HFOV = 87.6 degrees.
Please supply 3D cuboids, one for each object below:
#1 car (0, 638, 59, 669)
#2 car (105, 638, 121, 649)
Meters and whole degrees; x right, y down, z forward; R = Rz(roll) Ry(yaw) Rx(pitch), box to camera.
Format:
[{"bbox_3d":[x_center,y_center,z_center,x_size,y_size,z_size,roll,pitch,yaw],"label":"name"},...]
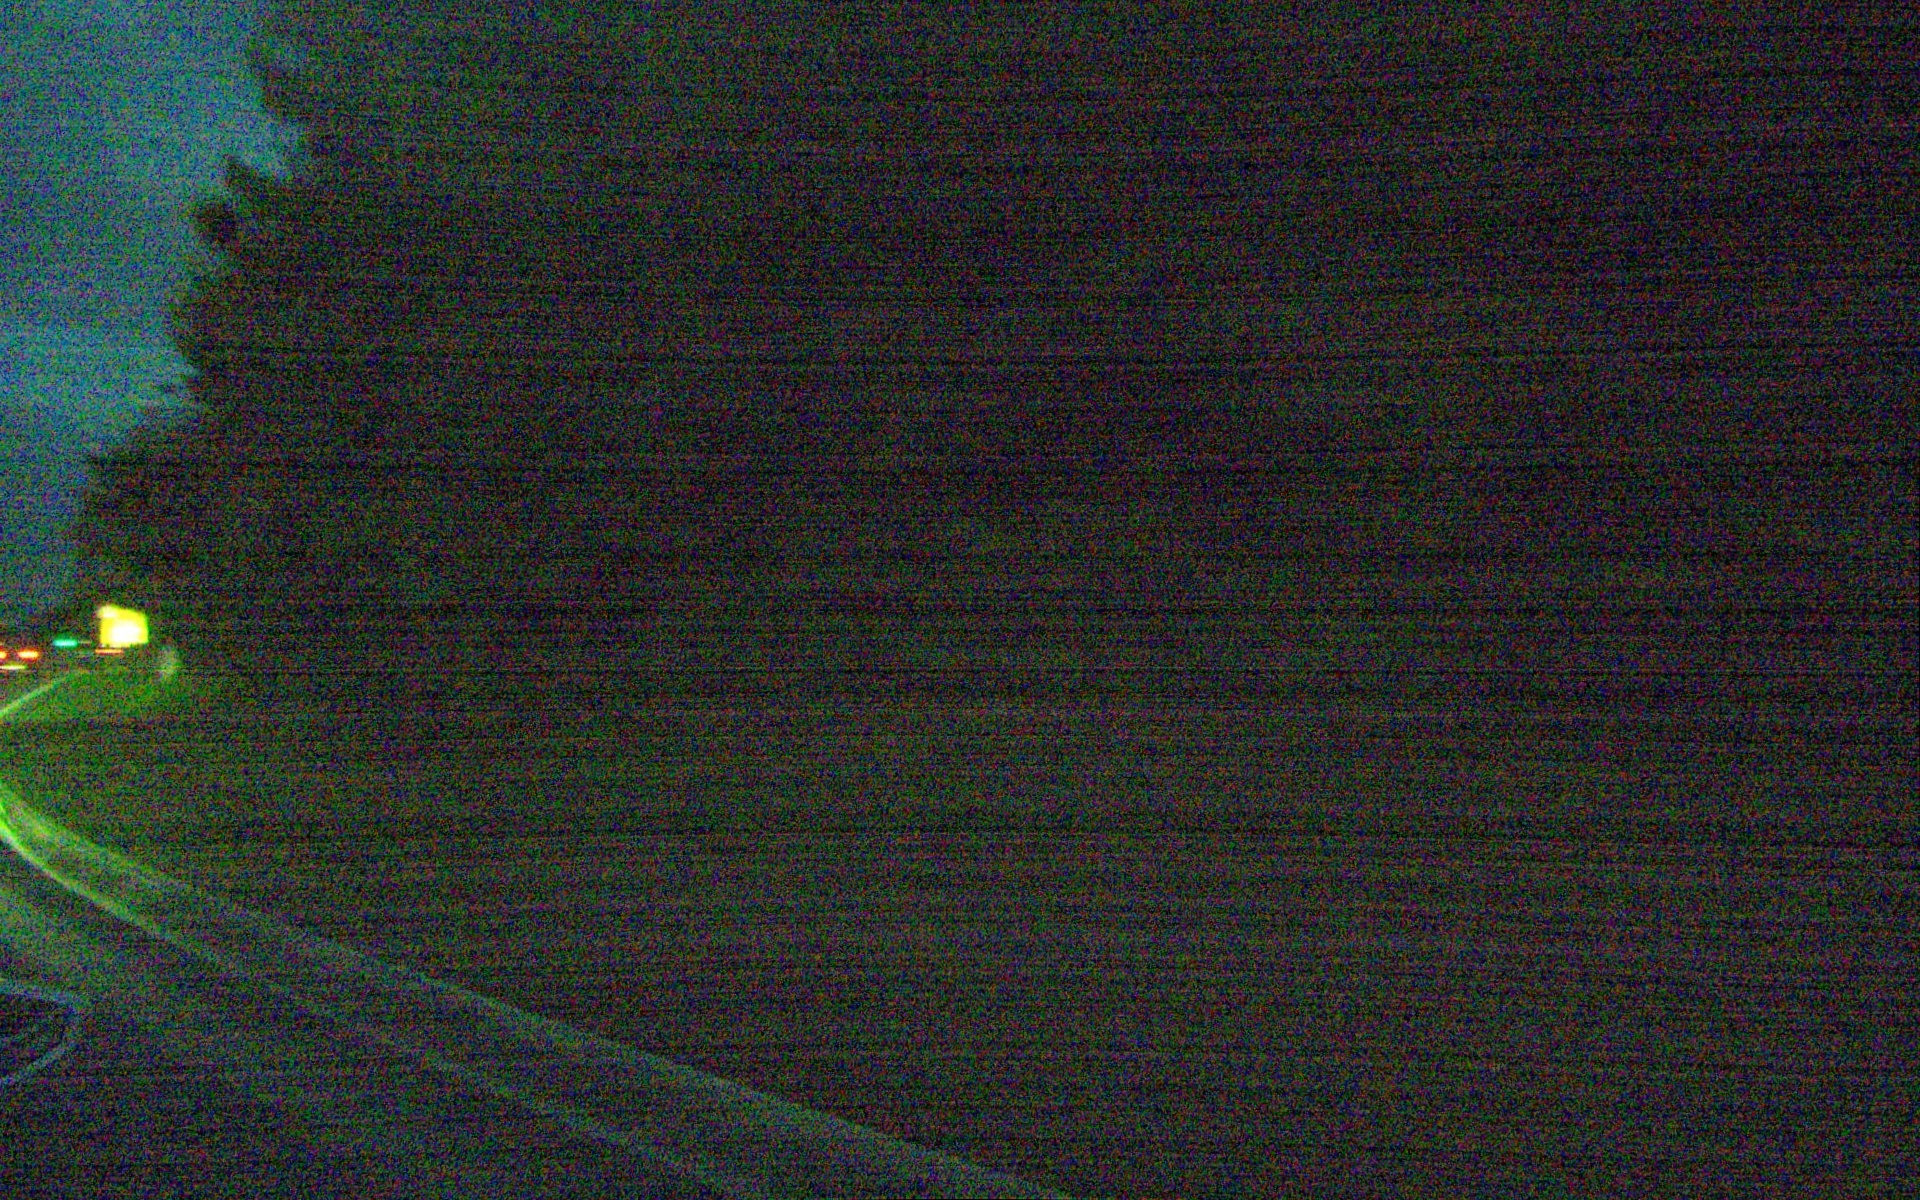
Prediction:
[{"bbox_3d":[-46.869,2.678,50.297,1.736,1.471,4.407,1,-2,-33],"label":"car"},{"bbox_3d":[-157.611,8.061,186.392,1.975,1.772,3.972,-4,0,-38],"label":"car"}]
